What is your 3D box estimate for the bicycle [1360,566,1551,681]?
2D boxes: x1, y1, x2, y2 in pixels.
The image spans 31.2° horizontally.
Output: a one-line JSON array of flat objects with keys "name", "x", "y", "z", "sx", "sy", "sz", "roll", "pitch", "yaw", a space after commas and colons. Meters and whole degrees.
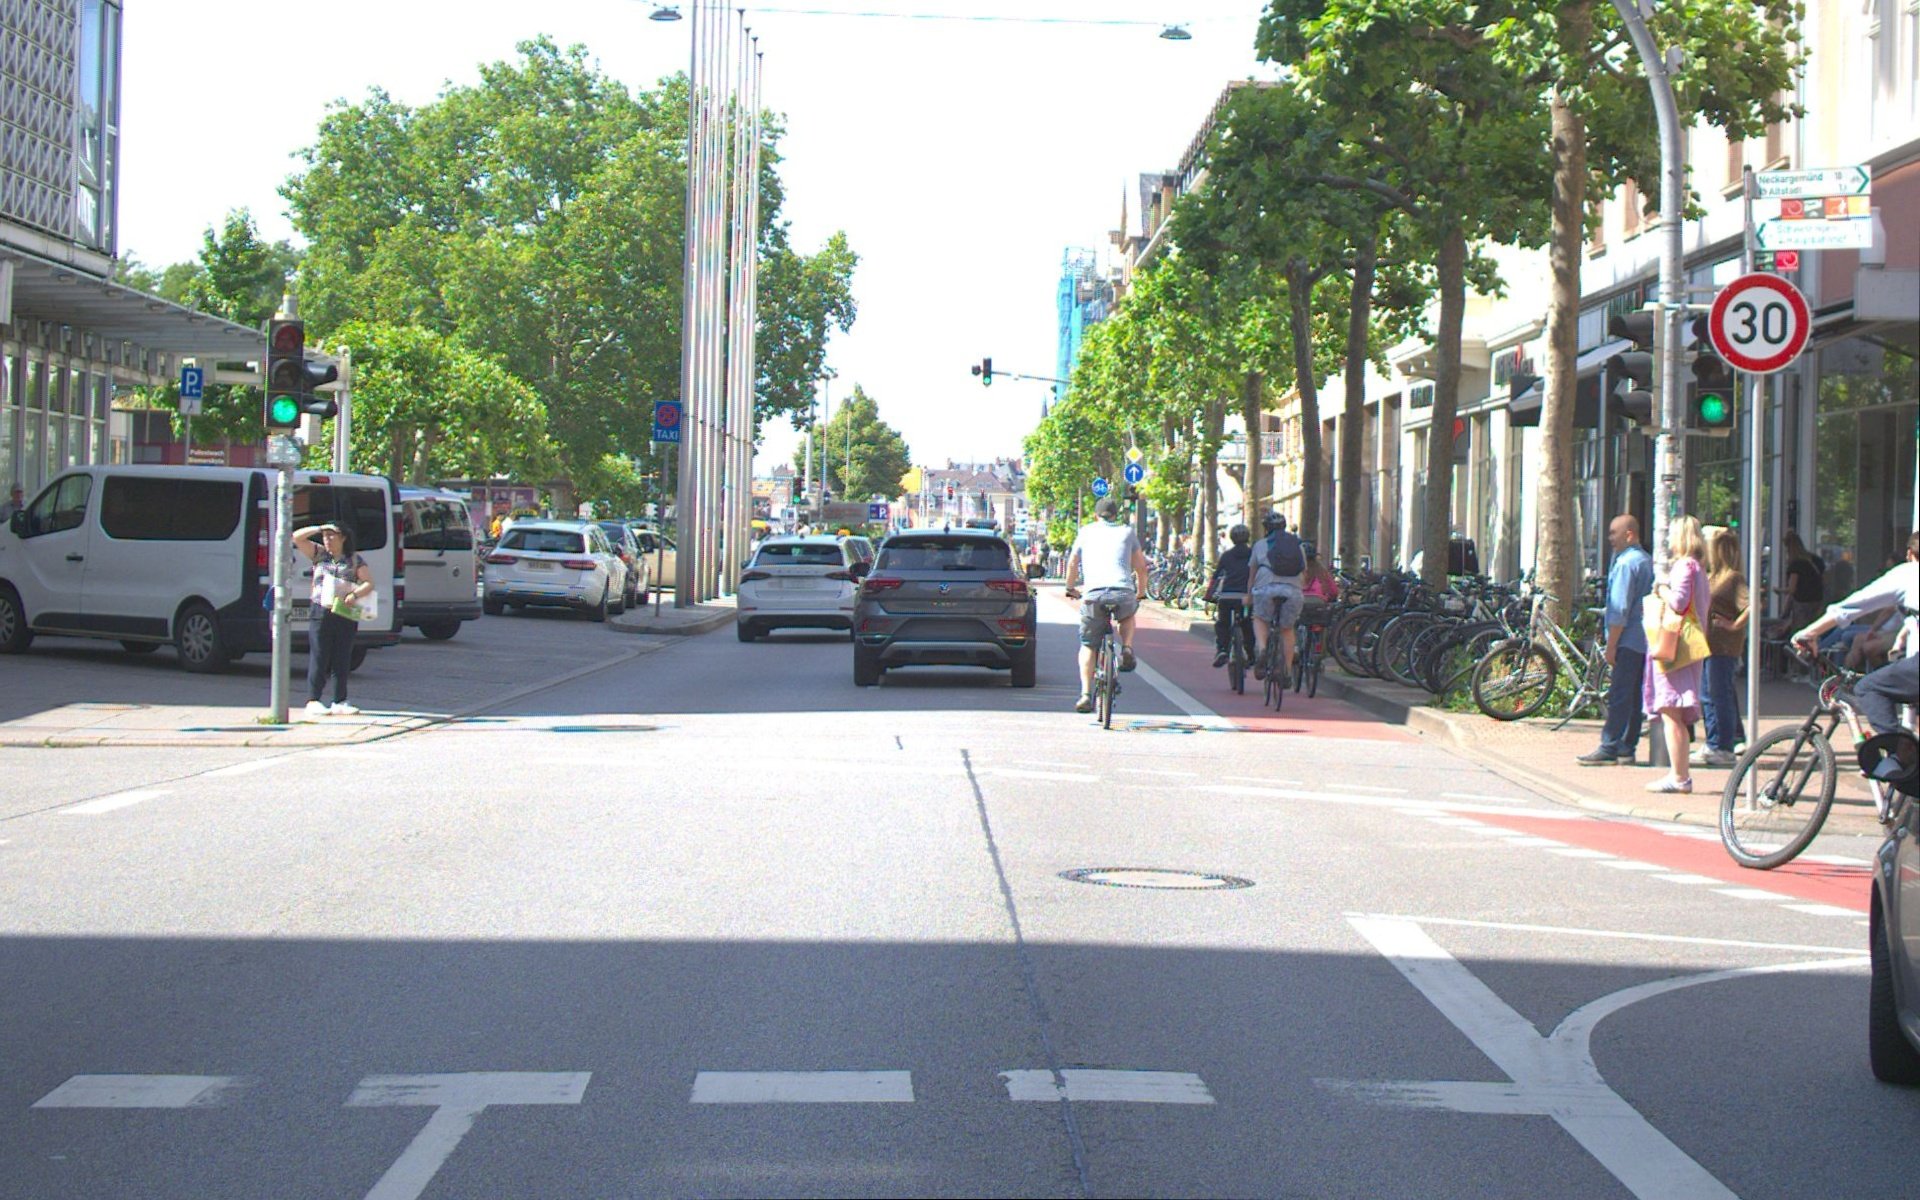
[{"name": "bicycle", "x": 5.026, "y": 0.233, "z": 34.962, "sx": 1.840, "sy": 1.123, "sz": 0.666, "roll": 1, "pitch": 0, "yaw": 2}]

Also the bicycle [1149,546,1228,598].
[{"name": "bicycle", "x": 5.177, "y": -0.633, "z": 77.913, "sx": 1.728, "sy": 1.105, "sz": 0.402, "roll": 2, "pitch": 1, "yaw": 3}]

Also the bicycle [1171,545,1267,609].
[{"name": "bicycle", "x": 5.129, "y": -0.457, "z": 68.067, "sx": 1.840, "sy": 1.182, "sz": 0.670, "roll": 3, "pitch": 1, "yaw": 5}]

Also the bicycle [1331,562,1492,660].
[{"name": "bicycle", "x": 5.359, "y": 0.129, "z": 40.860, "sx": 1.840, "sy": 1.123, "sz": 0.448, "roll": 1, "pitch": 0, "yaw": 3}]

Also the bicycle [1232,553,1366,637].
[{"name": "bicycle", "x": 5.048, "y": -0.072, "z": 51.215, "sx": 1.839, "sy": 1.123, "sz": 0.497, "roll": 4, "pitch": 2, "yaw": -7}]

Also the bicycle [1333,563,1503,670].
[{"name": "bicycle", "x": 5.274, "y": 0.186, "z": 39.601, "sx": 1.841, "sy": 1.123, "sz": 0.530, "roll": 3, "pitch": 0, "yaw": 13}]

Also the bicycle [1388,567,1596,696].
[{"name": "bicycle", "x": 4.874, "y": 0.283, "z": 31.572, "sx": 1.840, "sy": 1.123, "sz": 0.666, "roll": 1, "pitch": 0, "yaw": 8}]

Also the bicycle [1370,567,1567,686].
[{"name": "bicycle", "x": 5.004, "y": 0.259, "z": 33.916, "sx": 1.840, "sy": 1.123, "sz": 0.643, "roll": 1, "pitch": 0, "yaw": 2}]

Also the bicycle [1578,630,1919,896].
[{"name": "bicycle", "x": 4.089, "y": 0.766, "z": 16.408, "sx": 2.079, "sy": 1.123, "sz": 0.699, "roll": 4, "pitch": 1, "yaw": 33}]

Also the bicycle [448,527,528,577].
[{"name": "bicycle", "x": -11.129, "y": -1.136, "z": 81.124, "sx": 1.781, "sy": 1.101, "sz": 0.563, "roll": 2, "pitch": 1, "yaw": -2}]

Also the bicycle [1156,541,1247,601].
[{"name": "bicycle", "x": 5.278, "y": -0.646, "z": 75.163, "sx": 1.931, "sy": 1.244, "sz": 0.736, "roll": 2, "pitch": 1, "yaw": 3}]

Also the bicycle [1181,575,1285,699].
[{"name": "bicycle", "x": 2.686, "y": 0.347, "z": 33.984, "sx": 0.698, "sy": 1.123, "sz": 2.082, "roll": 3, "pitch": 1, "yaw": -3}]

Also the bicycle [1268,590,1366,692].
[{"name": "bicycle", "x": 3.513, "y": 0.387, "z": 33.943, "sx": 0.600, "sy": 0.922, "sz": 2.088, "roll": 2, "pitch": 1, "yaw": -4}]

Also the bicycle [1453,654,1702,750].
[{"name": "bicycle", "x": 5.124, "y": 0.858, "z": 28.664, "sx": 1.136, "sy": 0.432, "sz": 1.856, "roll": -10, "pitch": -3, "yaw": -25}]

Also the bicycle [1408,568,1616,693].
[{"name": "bicycle", "x": 5.178, "y": 0.279, "z": 32.338, "sx": 1.840, "sy": 1.123, "sz": 0.666, "roll": 1, "pitch": 0, "yaw": 2}]

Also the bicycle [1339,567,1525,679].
[{"name": "bicycle", "x": 4.902, "y": 0.236, "z": 35.776, "sx": 1.840, "sy": 1.123, "sz": 0.666, "roll": 1, "pitch": 0, "yaw": 2}]

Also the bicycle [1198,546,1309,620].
[{"name": "bicycle", "x": 5.065, "y": -0.294, "z": 59.238, "sx": 1.840, "sy": 1.193, "sz": 0.673, "roll": 2, "pitch": 1, "yaw": 8}]

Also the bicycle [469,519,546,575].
[{"name": "bicycle", "x": -11.140, "y": -1.302, "z": 84.603, "sx": 1.781, "sy": 1.304, "sz": 0.663, "roll": 2, "pitch": 1, "yaw": -2}]

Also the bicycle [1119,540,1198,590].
[{"name": "bicycle", "x": 5.237, "y": -0.925, "z": 90.777, "sx": 1.932, "sy": 1.253, "sz": 0.705, "roll": 2, "pitch": 1, "yaw": -19}]

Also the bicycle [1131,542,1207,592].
[{"name": "bicycle", "x": 5.249, "y": -0.822, "z": 86.364, "sx": 1.844, "sy": 1.197, "sz": 0.608, "roll": 2, "pitch": 1, "yaw": 3}]

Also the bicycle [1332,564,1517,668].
[{"name": "bicycle", "x": 5.259, "y": 0.174, "z": 38.887, "sx": 1.987, "sy": 1.123, "sz": 0.761, "roll": 1, "pitch": 0, "yaw": 13}]

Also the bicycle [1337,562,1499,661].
[{"name": "bicycle", "x": 5.376, "y": 0.137, "z": 40.400, "sx": 1.840, "sy": 1.123, "sz": 0.448, "roll": 1, "pitch": 0, "yaw": 3}]

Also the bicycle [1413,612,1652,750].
[{"name": "bicycle", "x": 4.896, "y": 0.698, "z": 29.465, "sx": 1.851, "sy": 0.395, "sz": 1.019, "roll": 9, "pitch": -34, "yaw": 4}]

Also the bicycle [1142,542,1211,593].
[{"name": "bicycle", "x": 5.317, "y": -0.795, "z": 84.638, "sx": 1.649, "sy": 1.197, "sz": 0.474, "roll": 2, "pitch": 1, "yaw": 3}]

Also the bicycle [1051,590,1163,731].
[{"name": "bicycle", "x": 1.139, "y": 0.454, "z": 27.045, "sx": 0.774, "sy": 1.002, "sz": 2.329, "roll": 1, "pitch": 1, "yaw": 0}]

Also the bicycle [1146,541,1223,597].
[{"name": "bicycle", "x": 5.133, "y": -0.707, "z": 78.693, "sx": 1.728, "sy": 1.213, "sz": 0.477, "roll": 2, "pitch": 1, "yaw": 3}]

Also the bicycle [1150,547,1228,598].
[{"name": "bicycle", "x": 5.213, "y": -0.623, "z": 78.332, "sx": 1.728, "sy": 1.105, "sz": 0.477, "roll": 2, "pitch": 1, "yaw": 3}]

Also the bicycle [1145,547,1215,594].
[{"name": "bicycle", "x": 5.316, "y": -0.713, "z": 83.116, "sx": 1.649, "sy": 1.091, "sz": 0.607, "roll": 2, "pitch": 1, "yaw": 3}]

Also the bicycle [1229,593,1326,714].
[{"name": "bicycle", "x": 2.822, "y": 0.460, "z": 30.730, "sx": 0.630, "sy": 0.976, "sz": 2.089, "roll": 1, "pitch": 2, "yaw": 0}]

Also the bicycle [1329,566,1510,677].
[{"name": "bicycle", "x": 4.872, "y": 0.225, "z": 36.471, "sx": 1.840, "sy": 1.123, "sz": 0.530, "roll": 1, "pitch": 0, "yaw": 2}]

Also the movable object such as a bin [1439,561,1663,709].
[{"name": "movable object such as a bin", "x": 5.279, "y": 0.301, "z": 30.697, "sx": 1.852, "sy": 1.184, "sz": 0.652, "roll": 4, "pitch": 1, "yaw": 16}]

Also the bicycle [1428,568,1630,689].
[{"name": "bicycle", "x": 5.505, "y": 0.272, "z": 33.305, "sx": 1.840, "sy": 1.123, "sz": 0.666, "roll": 1, "pitch": 0, "yaw": 2}]

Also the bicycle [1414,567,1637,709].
[{"name": "bicycle", "x": 4.975, "y": 0.325, "z": 30.259, "sx": 1.841, "sy": 1.123, "sz": 0.345, "roll": 4, "pitch": 2, "yaw": 15}]

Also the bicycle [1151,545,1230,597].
[{"name": "bicycle", "x": 5.201, "y": -0.654, "z": 77.498, "sx": 1.728, "sy": 1.105, "sz": 0.402, "roll": 2, "pitch": 1, "yaw": 3}]

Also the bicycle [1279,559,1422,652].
[{"name": "bicycle", "x": 4.909, "y": 0.073, "z": 43.194, "sx": 1.840, "sy": 1.123, "sz": 0.594, "roll": 1, "pitch": 0, "yaw": -35}]

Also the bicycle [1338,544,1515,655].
[{"name": "bicycle", "x": 5.076, "y": -0.011, "z": 37.470, "sx": 1.840, "sy": 1.123, "sz": 0.679, "roll": 2, "pitch": 1, "yaw": 5}]

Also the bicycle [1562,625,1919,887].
[{"name": "bicycle", "x": 4.194, "y": 0.736, "z": 16.278, "sx": 2.570, "sy": 1.123, "sz": 0.627, "roll": 3, "pitch": 1, "yaw": 33}]
